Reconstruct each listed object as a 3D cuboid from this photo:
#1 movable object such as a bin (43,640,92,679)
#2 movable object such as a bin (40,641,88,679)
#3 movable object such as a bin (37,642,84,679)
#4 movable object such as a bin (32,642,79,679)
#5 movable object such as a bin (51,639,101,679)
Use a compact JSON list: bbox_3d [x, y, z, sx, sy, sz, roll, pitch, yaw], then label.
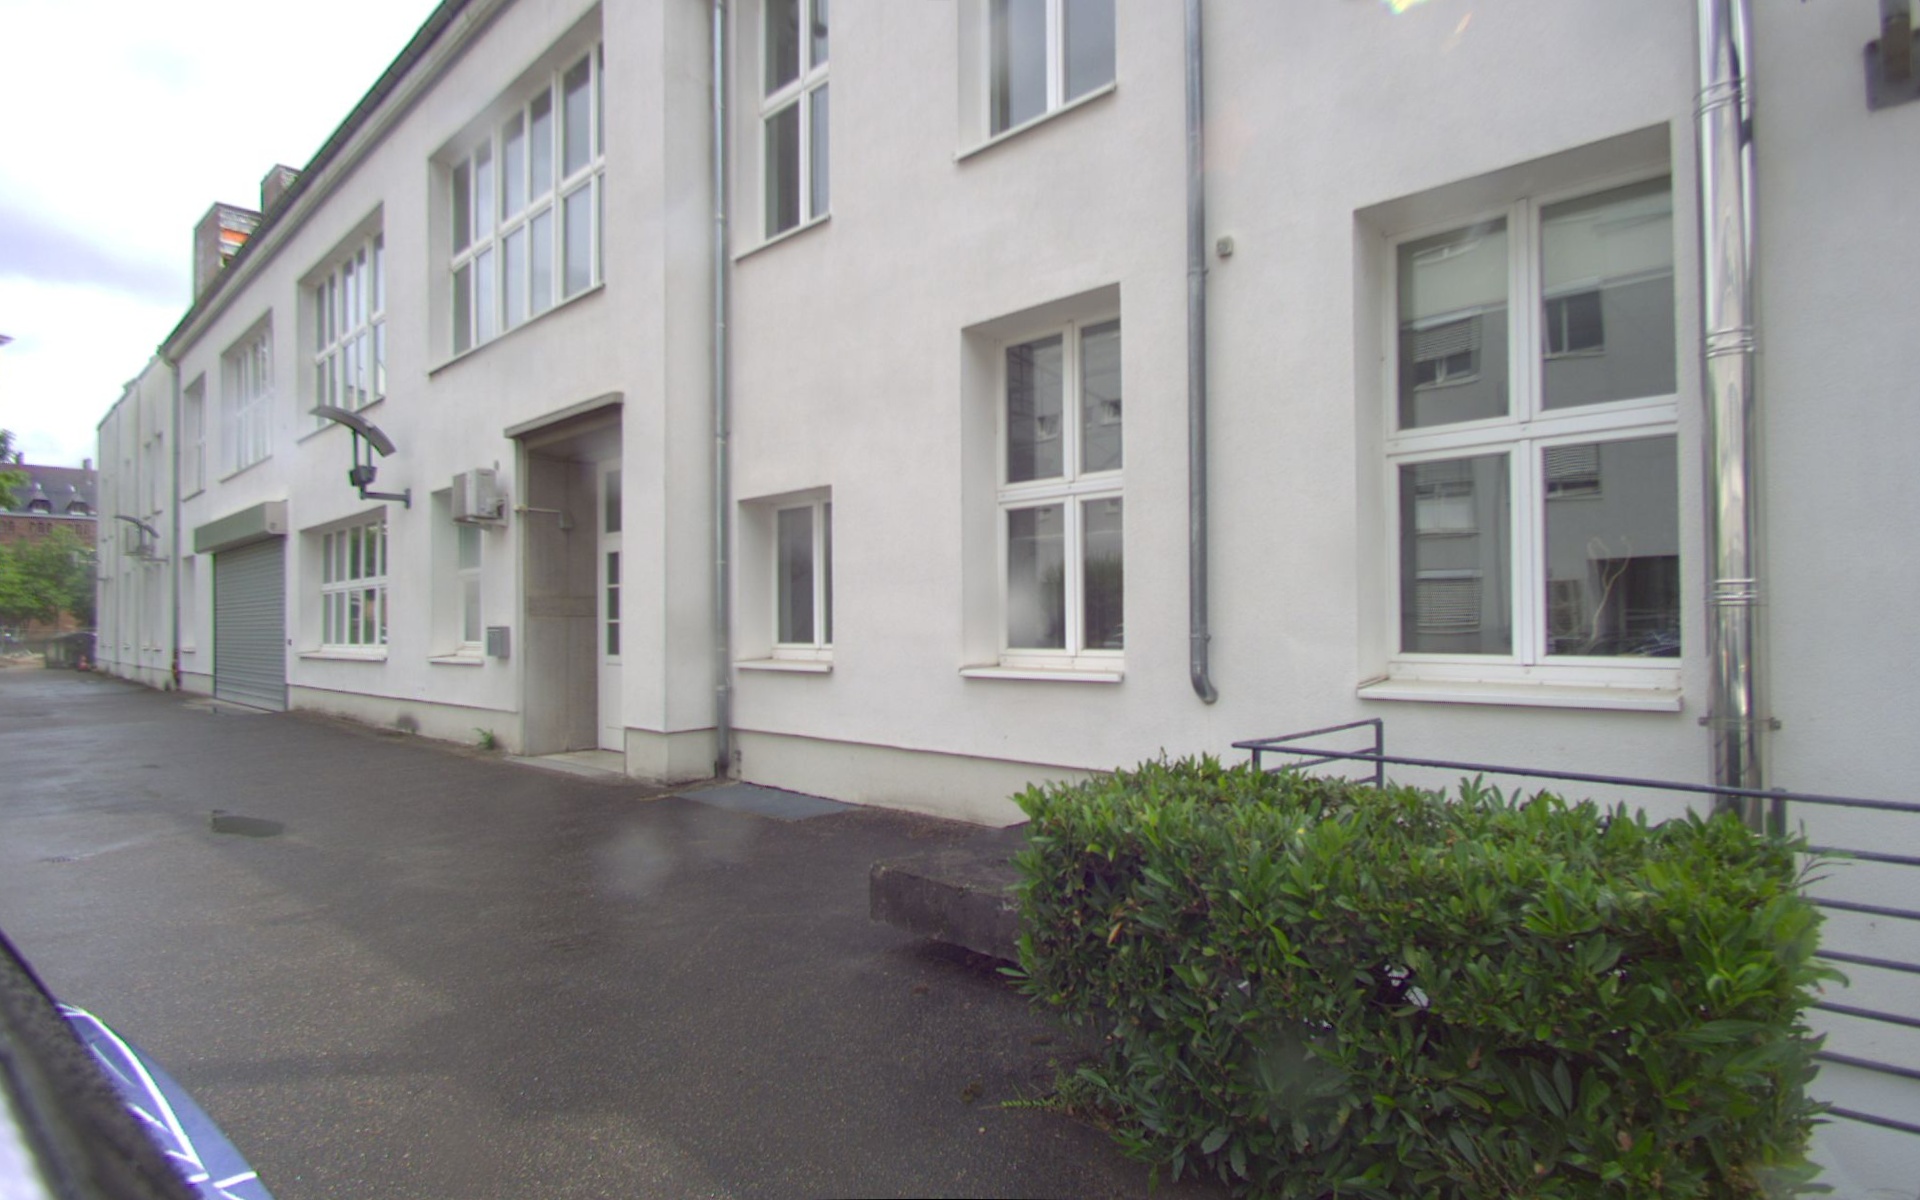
[{"bbox_3d":[-35.624,2.364,40.388,1.366,1.482,1.344,-4,-2,43],"label":"movable object such as a bin"},{"bbox_3d":[-36.685,2.452,41.440,1.352,1.482,1.344,-4,-2,43],"label":"movable object such as a bin"},{"bbox_3d":[-37.738,2.526,42.438,1.465,1.482,1.344,-4,-2,43],"label":"movable object such as a bin"},{"bbox_3d":[-38.924,2.587,43.547,1.561,1.482,1.393,-4,-2,43],"label":"movable object such as a bin"},{"bbox_3d":[-34.378,2.283,39.355,1.366,1.482,1.344,-4,-2,43],"label":"movable object such as a bin"}]
